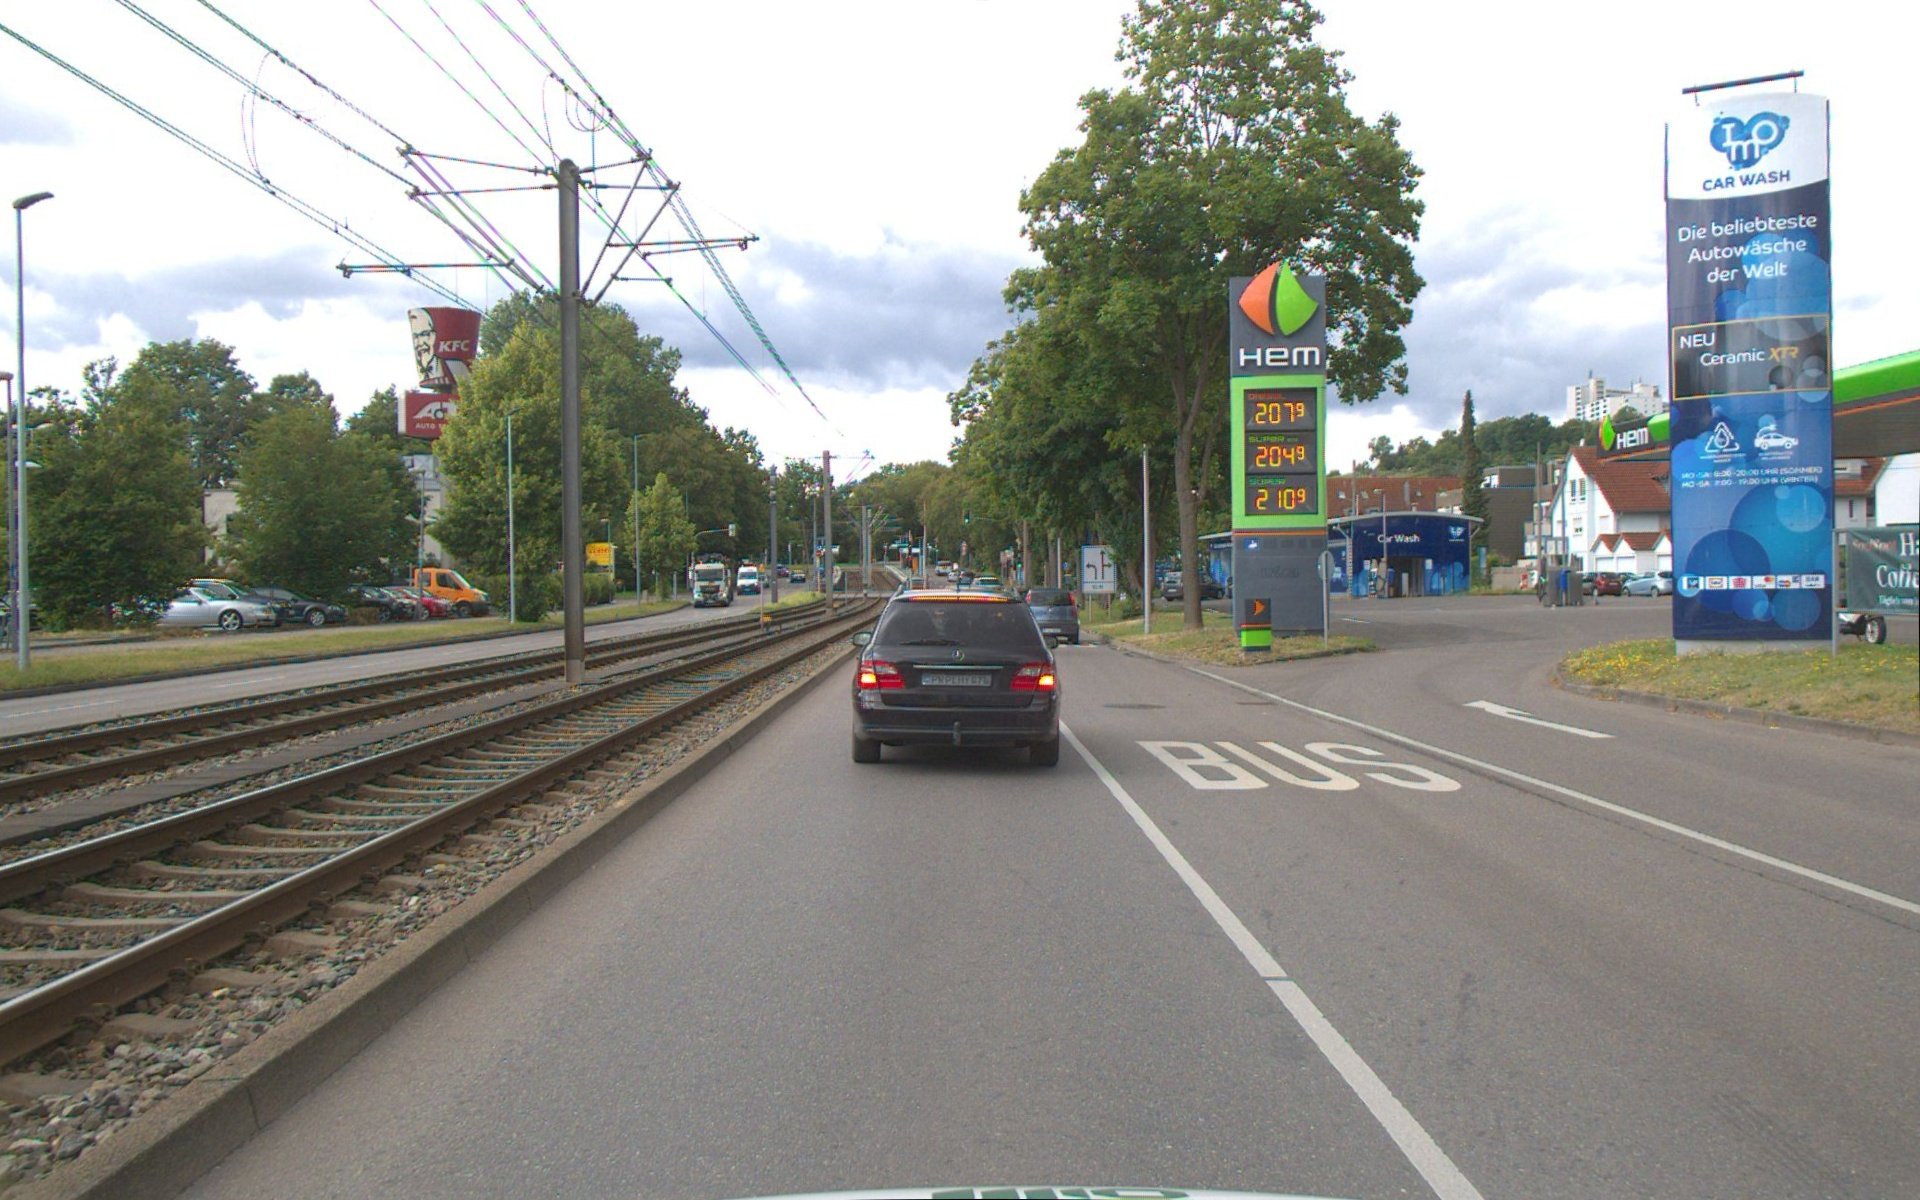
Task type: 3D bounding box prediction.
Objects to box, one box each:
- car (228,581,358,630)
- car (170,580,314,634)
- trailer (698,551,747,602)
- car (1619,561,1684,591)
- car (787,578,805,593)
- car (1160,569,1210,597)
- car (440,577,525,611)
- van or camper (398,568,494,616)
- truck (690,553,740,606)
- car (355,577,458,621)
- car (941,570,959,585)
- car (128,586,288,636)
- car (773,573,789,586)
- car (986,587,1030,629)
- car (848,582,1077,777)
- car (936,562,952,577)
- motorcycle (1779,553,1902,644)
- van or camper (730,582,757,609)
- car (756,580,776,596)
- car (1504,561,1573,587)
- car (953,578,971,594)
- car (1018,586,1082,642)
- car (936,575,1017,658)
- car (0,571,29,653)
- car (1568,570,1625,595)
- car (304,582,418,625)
[{"bbox_3d":[-23.929,0.174,59.435,3.909,1.627,1.876,-1,0,-5],"label":"car"},{"bbox_3d":[-23.638,0.209,54.549,3.909,1.663,1.876,-1,0,-5],"label":"car"},{"bbox_3d":[-18.499,-1.785,129.324,2.651,3.724,13.289,-1,0,-4],"label":"trailer"},{"bbox_3d":[39.096,-1.339,93.541,1.506,1.627,3.725,1,0,-13],"label":"car"},{"bbox_3d":[-19.656,-1.729,198.236,1.729,1.676,3.770,1,0,-1],"label":"car"},{"bbox_3d":[14.288,-1.111,105.037,1.965,1.712,4.578,-1,1,23],"label":"car"},{"bbox_3d":[-24.665,-0.327,85.585,3.909,1.627,1.795,-1,0,-5],"label":"car"},{"bbox_3d":[-23.943,-0.383,77.143,3.909,2.172,1.876,0,0,-5],"label":"van or camper"},{"bbox_3d":[-18.128,-1.503,123.007,2.652,3.727,11.104,-1,0,-3],"label":"truck"},{"bbox_3d":[-24.062,-0.049,71.972,3.909,1.829,1.876,0,0,-5],"label":"car"},{"bbox_3d":[-1.176,-2.586,193.209,1.953,1.744,4.000,-1,1,-1],"label":"car"},{"bbox_3d":[-23.546,0.326,51.898,4.221,1.497,1.679,-1,0,-3],"label":"car"},{"bbox_3d":[-24.293,-2.754,224.611,1.729,1.676,3.770,1,0,-1],"label":"car"},{"bbox_3d":[1.719,0.286,59.671,1.436,1.439,3.354,1,0,-1],"label":"car"},{"bbox_3d":[0.002,0.601,14.783,1.771,1.500,3.880,0,0,-1],"label":"car"},{"bbox_3d":[-2.088,-4.025,216.199,1.953,1.870,3.999,1,0,-1],"label":"car"},{"bbox_3d":[13.805,-0.025,26.011,0.838,1.354,1.990,-1,0,-1],"label":"motorcycle"},{"bbox_3d":[-20.174,-0.426,154.559,1.954,2.395,5.763,-1,0,-3],"label":"van or camper"},{"bbox_3d":[-21.100,-1.335,179.949,1.729,1.676,3.770,1,0,-1],"label":"car"},{"bbox_3d":[40.102,-1.822,114.721,4.131,1.713,1.776,1,0,-3],"label":"car"},{"bbox_3d":[0.206,-1.462,173.430,1.634,1.559,3.768,1,0,-4],"label":"car"},{"bbox_3d":[2.448,0.373,45.628,1.539,1.439,3.354,1,0,-1],"label":"car"},{"bbox_3d":[0.339,0.361,38.008,1.744,1.781,3.717,1,0,-1],"label":"car"},{"bbox_3d":[-23.455,0.308,37.173,3.909,1.829,1.876,-1,0,-5],"label":"car"},{"bbox_3d":[37.908,-1.044,98.588,1.553,1.418,3.407,1,0,-13],"label":"car"},{"bbox_3d":[-24.109,0.135,66.653,3.909,1.627,1.876,-1,0,-5],"label":"car"}]
